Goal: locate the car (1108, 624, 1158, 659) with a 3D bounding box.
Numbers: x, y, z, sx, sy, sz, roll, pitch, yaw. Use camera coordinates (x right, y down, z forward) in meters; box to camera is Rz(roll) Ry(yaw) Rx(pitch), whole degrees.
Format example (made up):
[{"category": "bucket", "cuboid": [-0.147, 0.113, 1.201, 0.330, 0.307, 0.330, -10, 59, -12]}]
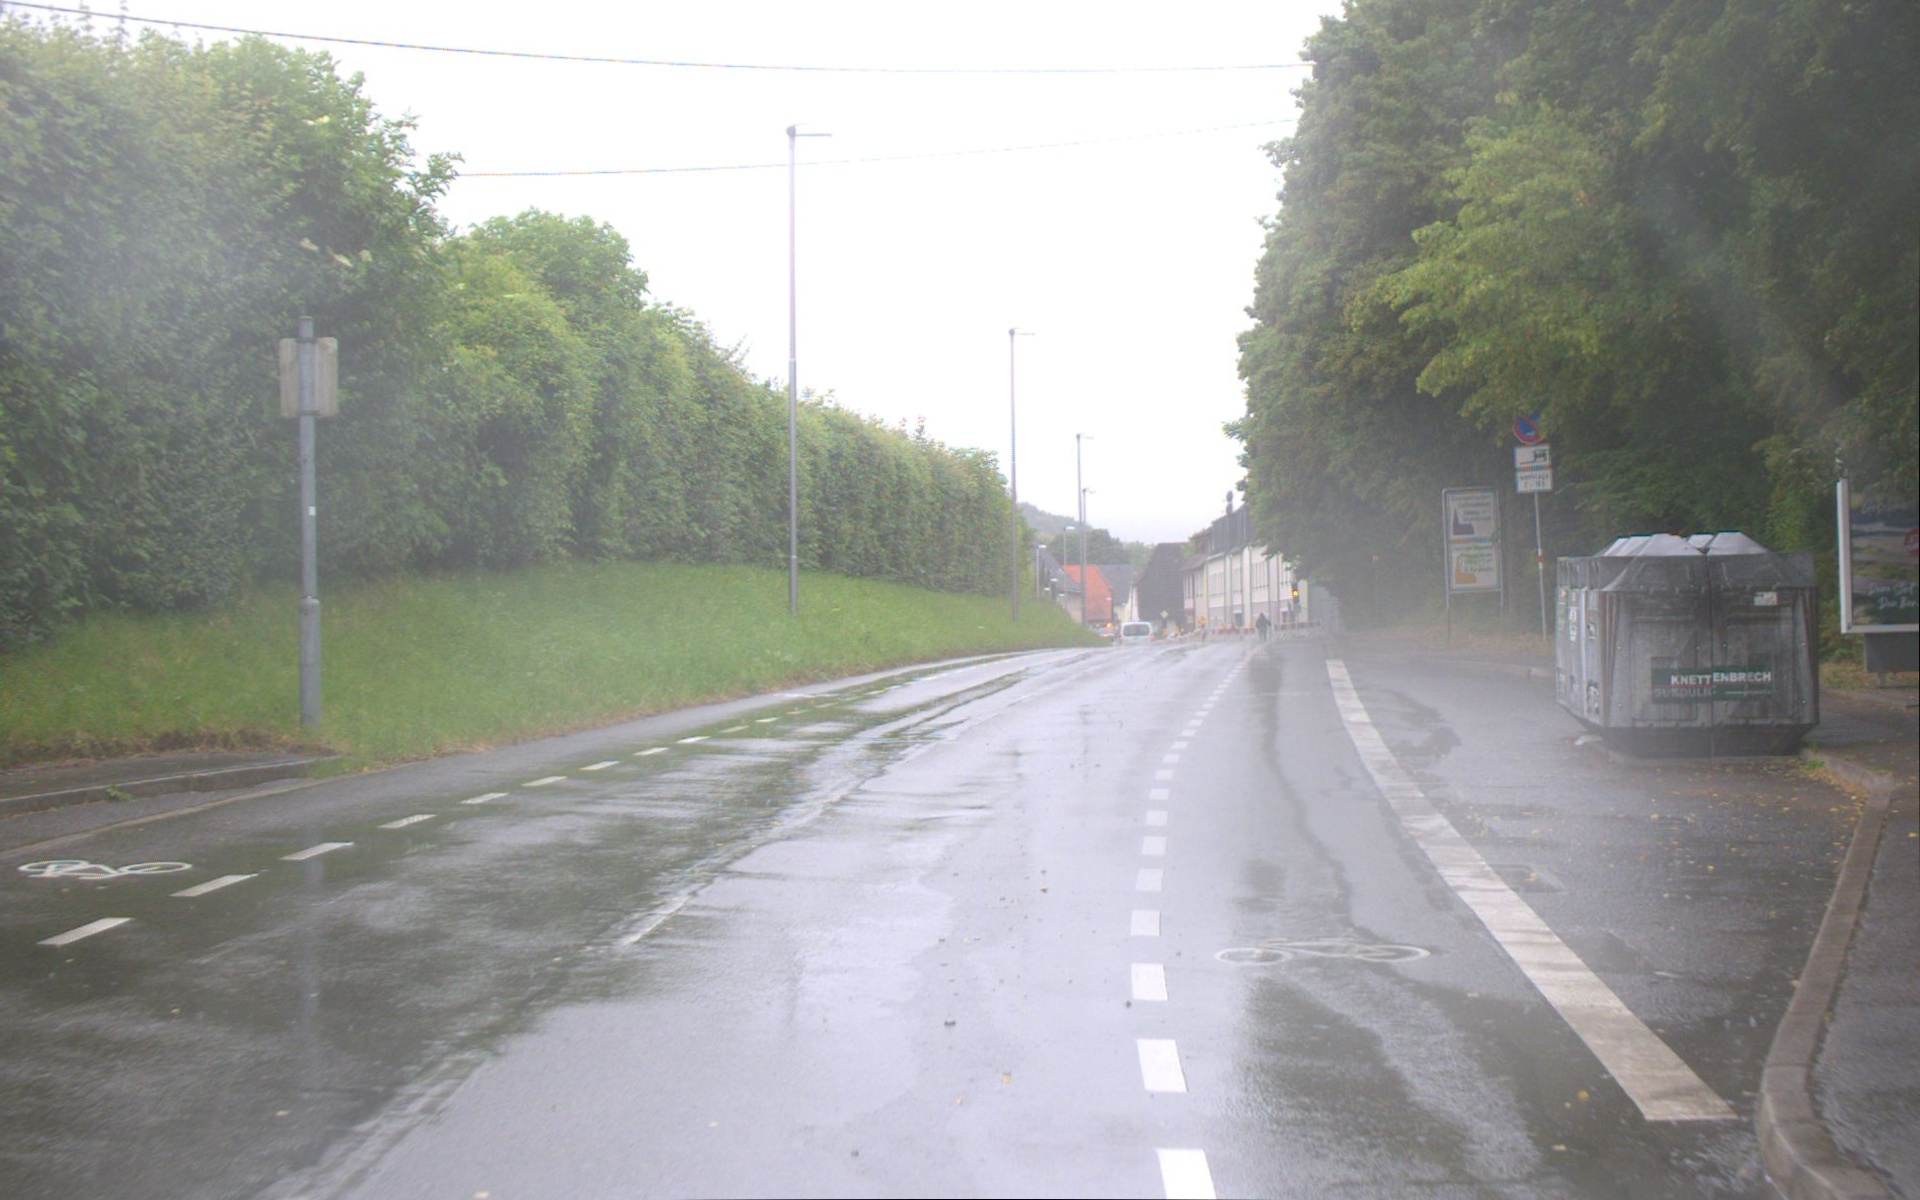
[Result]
[{"category": "car", "cuboid": [8.536, 2.036, 170.177, 1.993, 1.605, 4.001, 1, 1, -4]}]
